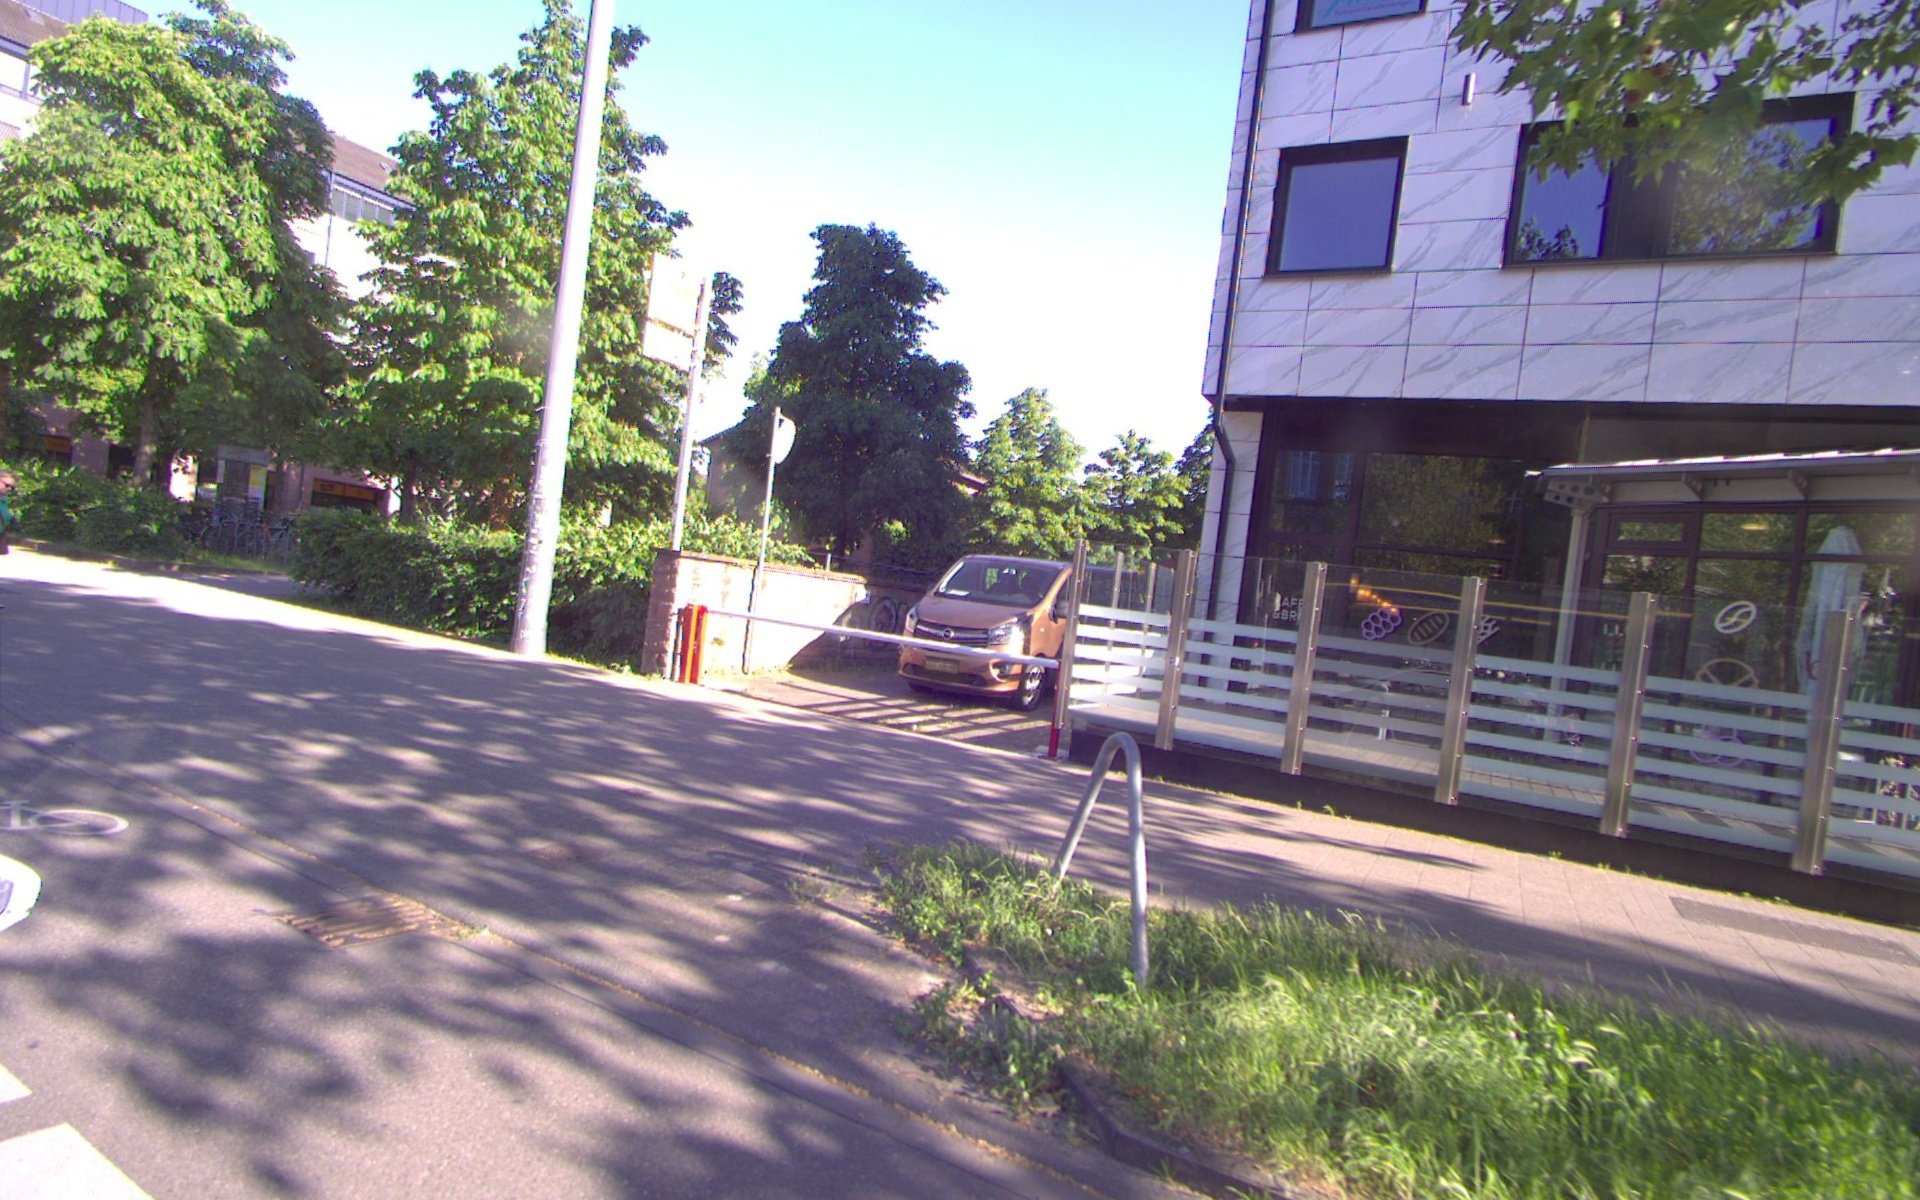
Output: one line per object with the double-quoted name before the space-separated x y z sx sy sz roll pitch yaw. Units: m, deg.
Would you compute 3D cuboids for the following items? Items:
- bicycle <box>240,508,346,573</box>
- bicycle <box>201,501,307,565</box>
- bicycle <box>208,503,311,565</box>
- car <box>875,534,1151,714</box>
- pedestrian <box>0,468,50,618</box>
"bicycle" -16.090 -1.417 24.322 0.564 1.332 1.997 7 2 31
"bicycle" -17.227 -1.624 24.603 0.564 1.332 1.997 7 2 31
"bicycle" -17.546 -1.636 25.248 0.564 1.332 1.997 7 2 31
"car" 0.990 0.309 14.569 1.880 2.011 4.900 7 2 29
"pedestrian" -10.664 -0.658 10.957 0.821 1.596 0.734 6 1 -24
